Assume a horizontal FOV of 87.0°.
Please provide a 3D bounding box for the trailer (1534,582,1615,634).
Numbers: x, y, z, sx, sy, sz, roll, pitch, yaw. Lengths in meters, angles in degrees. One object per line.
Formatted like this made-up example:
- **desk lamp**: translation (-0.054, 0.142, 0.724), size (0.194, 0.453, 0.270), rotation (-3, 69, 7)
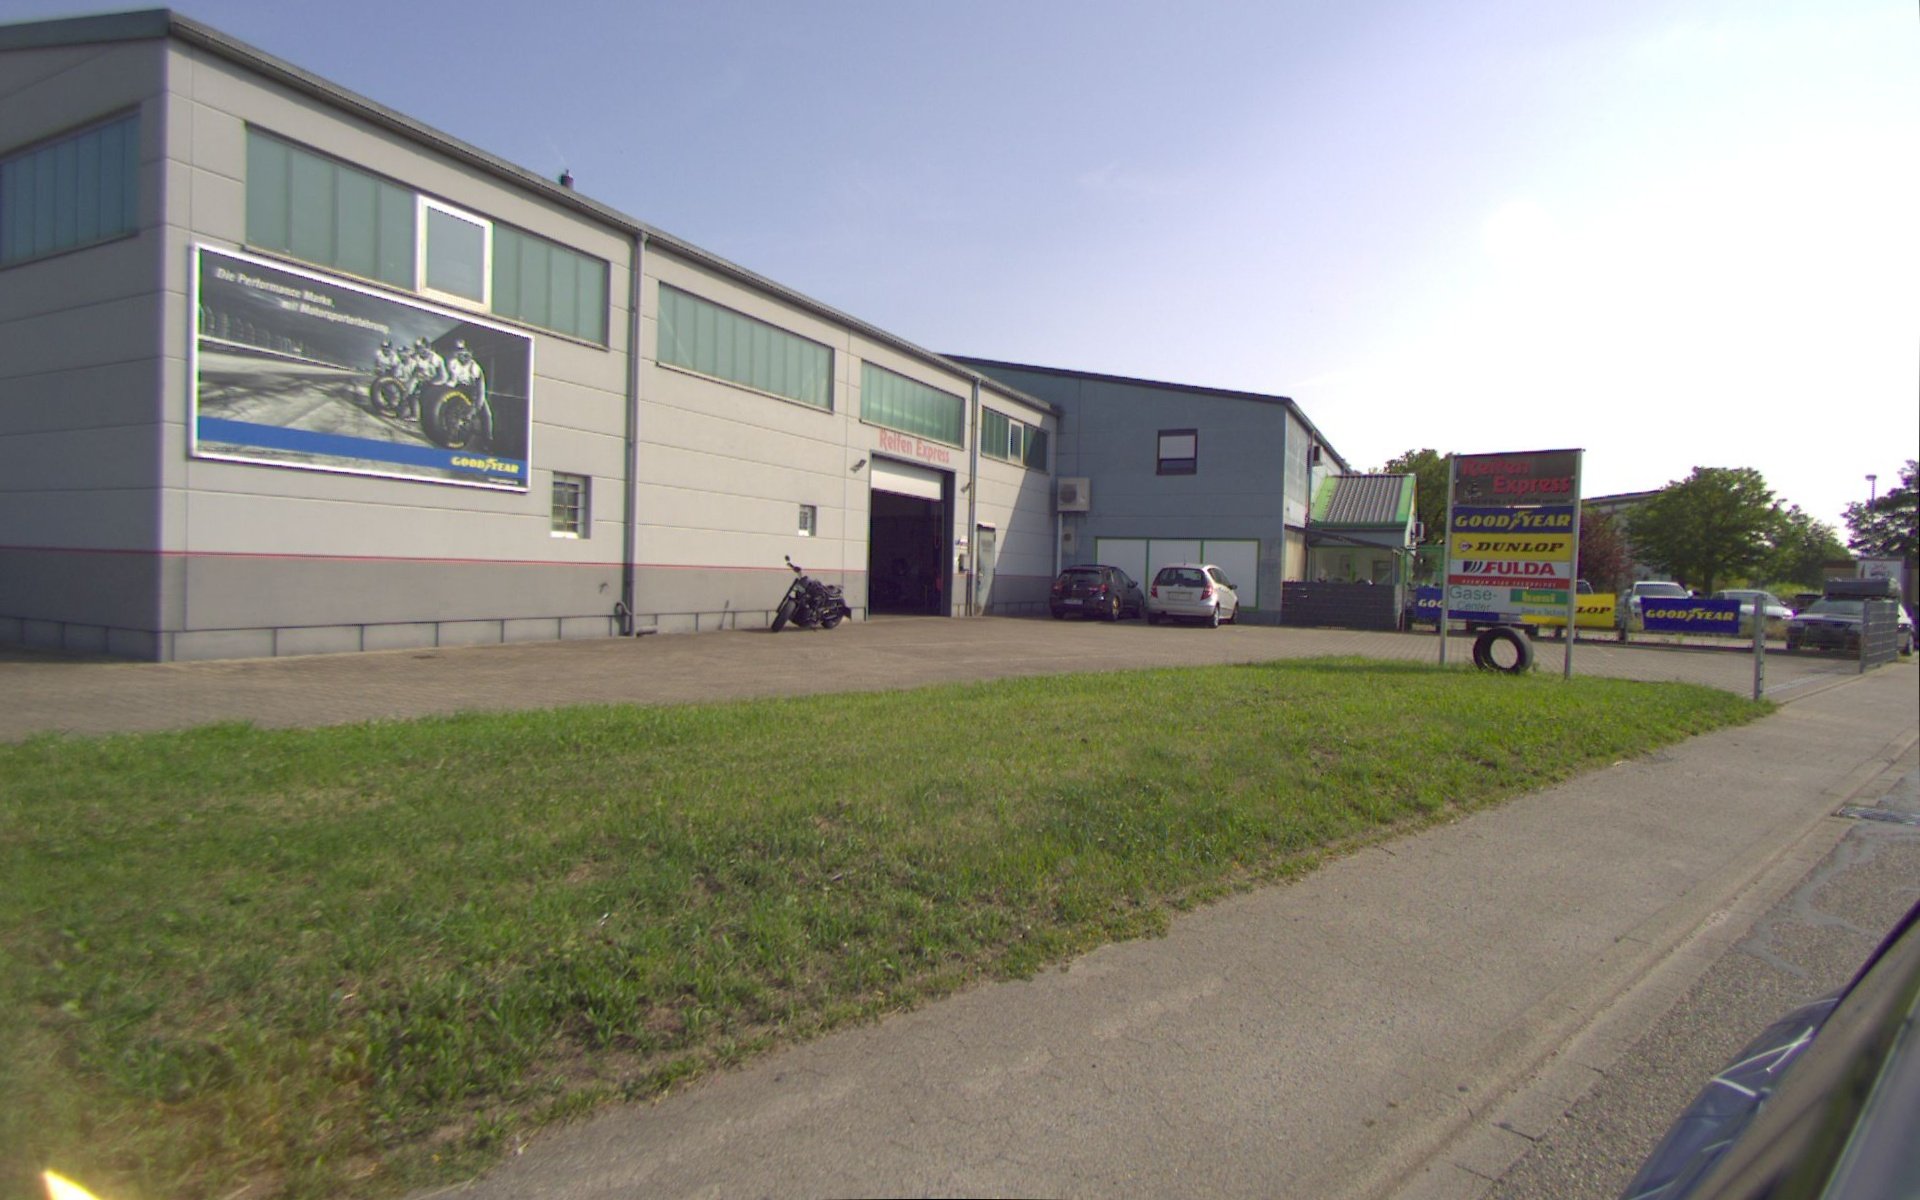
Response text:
- **trailer**: translation (15.911, 0.186, 26.308), size (1.479, 1.264, 2.951), rotation (0, 1, 25)

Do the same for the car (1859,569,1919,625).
- **car**: translation (46.232, -0.132, 46.816), size (6.704, 2.571, 2.251), rotation (1, 0, 36)

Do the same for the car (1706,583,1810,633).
- **car**: translation (26.134, 0.201, 33.297), size (1.675, 1.484, 4.227), rotation (2, 2, 24)

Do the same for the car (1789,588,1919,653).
- **car**: translation (21.518, 0.442, 24.138), size (4.311, 1.385, 1.679), rotation (0, 2, -37)

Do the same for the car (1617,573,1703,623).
- **car**: translation (24.155, -0.113, 35.064), size (1.702, 1.591, 4.099), rotation (2, 2, 24)

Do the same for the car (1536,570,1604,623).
- **car**: translation (21.485, -0.153, 35.757), size (1.627, 1.741, 3.187), rotation (2, 2, 24)

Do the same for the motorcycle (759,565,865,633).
- **motorcycle**: translation (-2.573, -0.044, 17.924), size (0.795, 1.108, 2.184), rotation (2, 2, 24)

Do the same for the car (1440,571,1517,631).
- **car**: translation (14.174, -0.021, 27.842), size (1.627, 1.484, 4.424), rotation (2, 2, 24)

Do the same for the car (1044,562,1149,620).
- **car**: translation (3.763, -0.278, 27.401), size (1.666, 1.420, 3.677), rotation (2, 2, 27)

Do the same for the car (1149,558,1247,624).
- **car**: translation (6.305, -0.264, 26.538), size (1.624, 1.587, 3.770), rotation (2, 2, 27)
